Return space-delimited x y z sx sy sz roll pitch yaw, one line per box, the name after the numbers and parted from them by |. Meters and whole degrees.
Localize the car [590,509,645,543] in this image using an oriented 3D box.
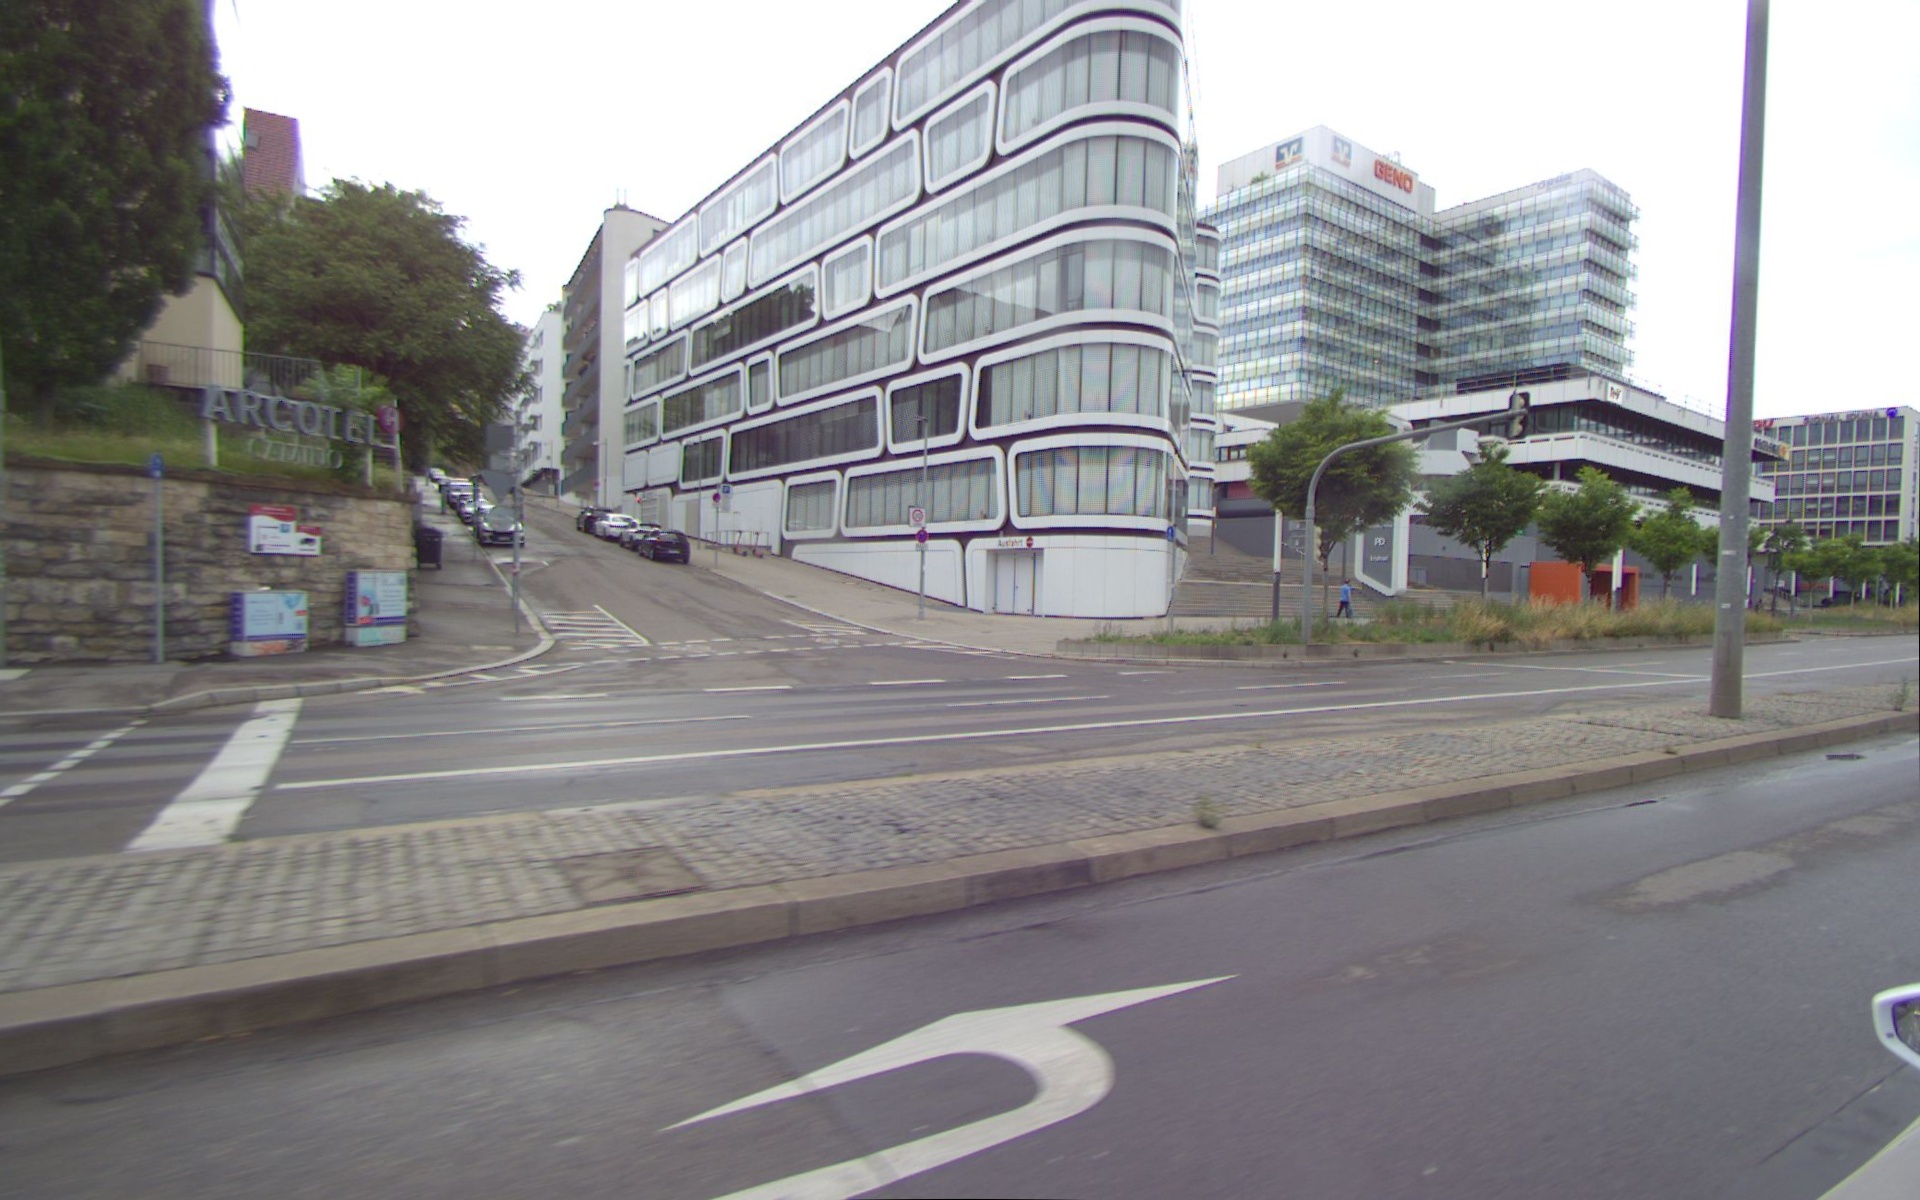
-19.340 -4.182 56.582 1.860 1.598 3.960 1 6 -35 | car

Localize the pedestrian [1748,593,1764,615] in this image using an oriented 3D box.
54.809 0.268 69.150 0.790 1.465 0.613 2 0 -35 | pedestrian

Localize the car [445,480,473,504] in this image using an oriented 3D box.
-39.735 -8.546 79.685 1.792 1.706 3.968 2 5 -29 | car

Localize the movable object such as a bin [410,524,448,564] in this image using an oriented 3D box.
-18.674 -1.971 35.307 1.105 1.261 0.820 2 7 -31 | movable object such as a bin

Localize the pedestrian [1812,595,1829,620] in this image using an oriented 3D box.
65.353 0.558 76.290 0.622 1.832 0.779 2 0 -36 | pedestrian

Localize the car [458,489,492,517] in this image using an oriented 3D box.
-33.045 -6.653 68.378 1.826 1.706 3.968 2 5 -29 | car

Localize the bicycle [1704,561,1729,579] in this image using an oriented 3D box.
40.457 -1.598 53.719 0.597 0.869 1.657 2 0 20 | bicycle

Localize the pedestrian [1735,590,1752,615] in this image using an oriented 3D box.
54.409 0.160 69.730 0.790 1.680 0.613 2 2 -35 | pedestrian

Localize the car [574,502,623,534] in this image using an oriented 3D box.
-22.193 -5.057 61.552 1.860 1.598 3.960 1 6 -35 | car

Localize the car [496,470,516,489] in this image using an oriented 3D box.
-54.940 -14.572 121.576 1.975 2.118 3.970 2 5 -27 | car

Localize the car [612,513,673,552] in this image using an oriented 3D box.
-16.277 -3.471 51.436 1.860 1.598 3.960 1 6 -35 | car

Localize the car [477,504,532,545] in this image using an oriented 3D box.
-21.850 -3.635 48.113 2.028 1.706 3.968 2 5 -29 | car

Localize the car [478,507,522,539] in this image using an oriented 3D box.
-24.448 -4.103 53.314 1.841 1.474 3.874 2 5 -29 | car

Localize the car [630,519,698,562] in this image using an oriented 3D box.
-13.745 -2.791 46.526 1.860 1.598 3.960 1 6 -35 | car

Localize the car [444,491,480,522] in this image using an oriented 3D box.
-30.644 -5.769 61.760 1.792 1.706 3.968 2 5 -29 | car

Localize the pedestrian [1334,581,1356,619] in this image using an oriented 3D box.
16.663 -0.012 43.494 0.633 1.632 0.607 2 0 -33 | pedestrian
